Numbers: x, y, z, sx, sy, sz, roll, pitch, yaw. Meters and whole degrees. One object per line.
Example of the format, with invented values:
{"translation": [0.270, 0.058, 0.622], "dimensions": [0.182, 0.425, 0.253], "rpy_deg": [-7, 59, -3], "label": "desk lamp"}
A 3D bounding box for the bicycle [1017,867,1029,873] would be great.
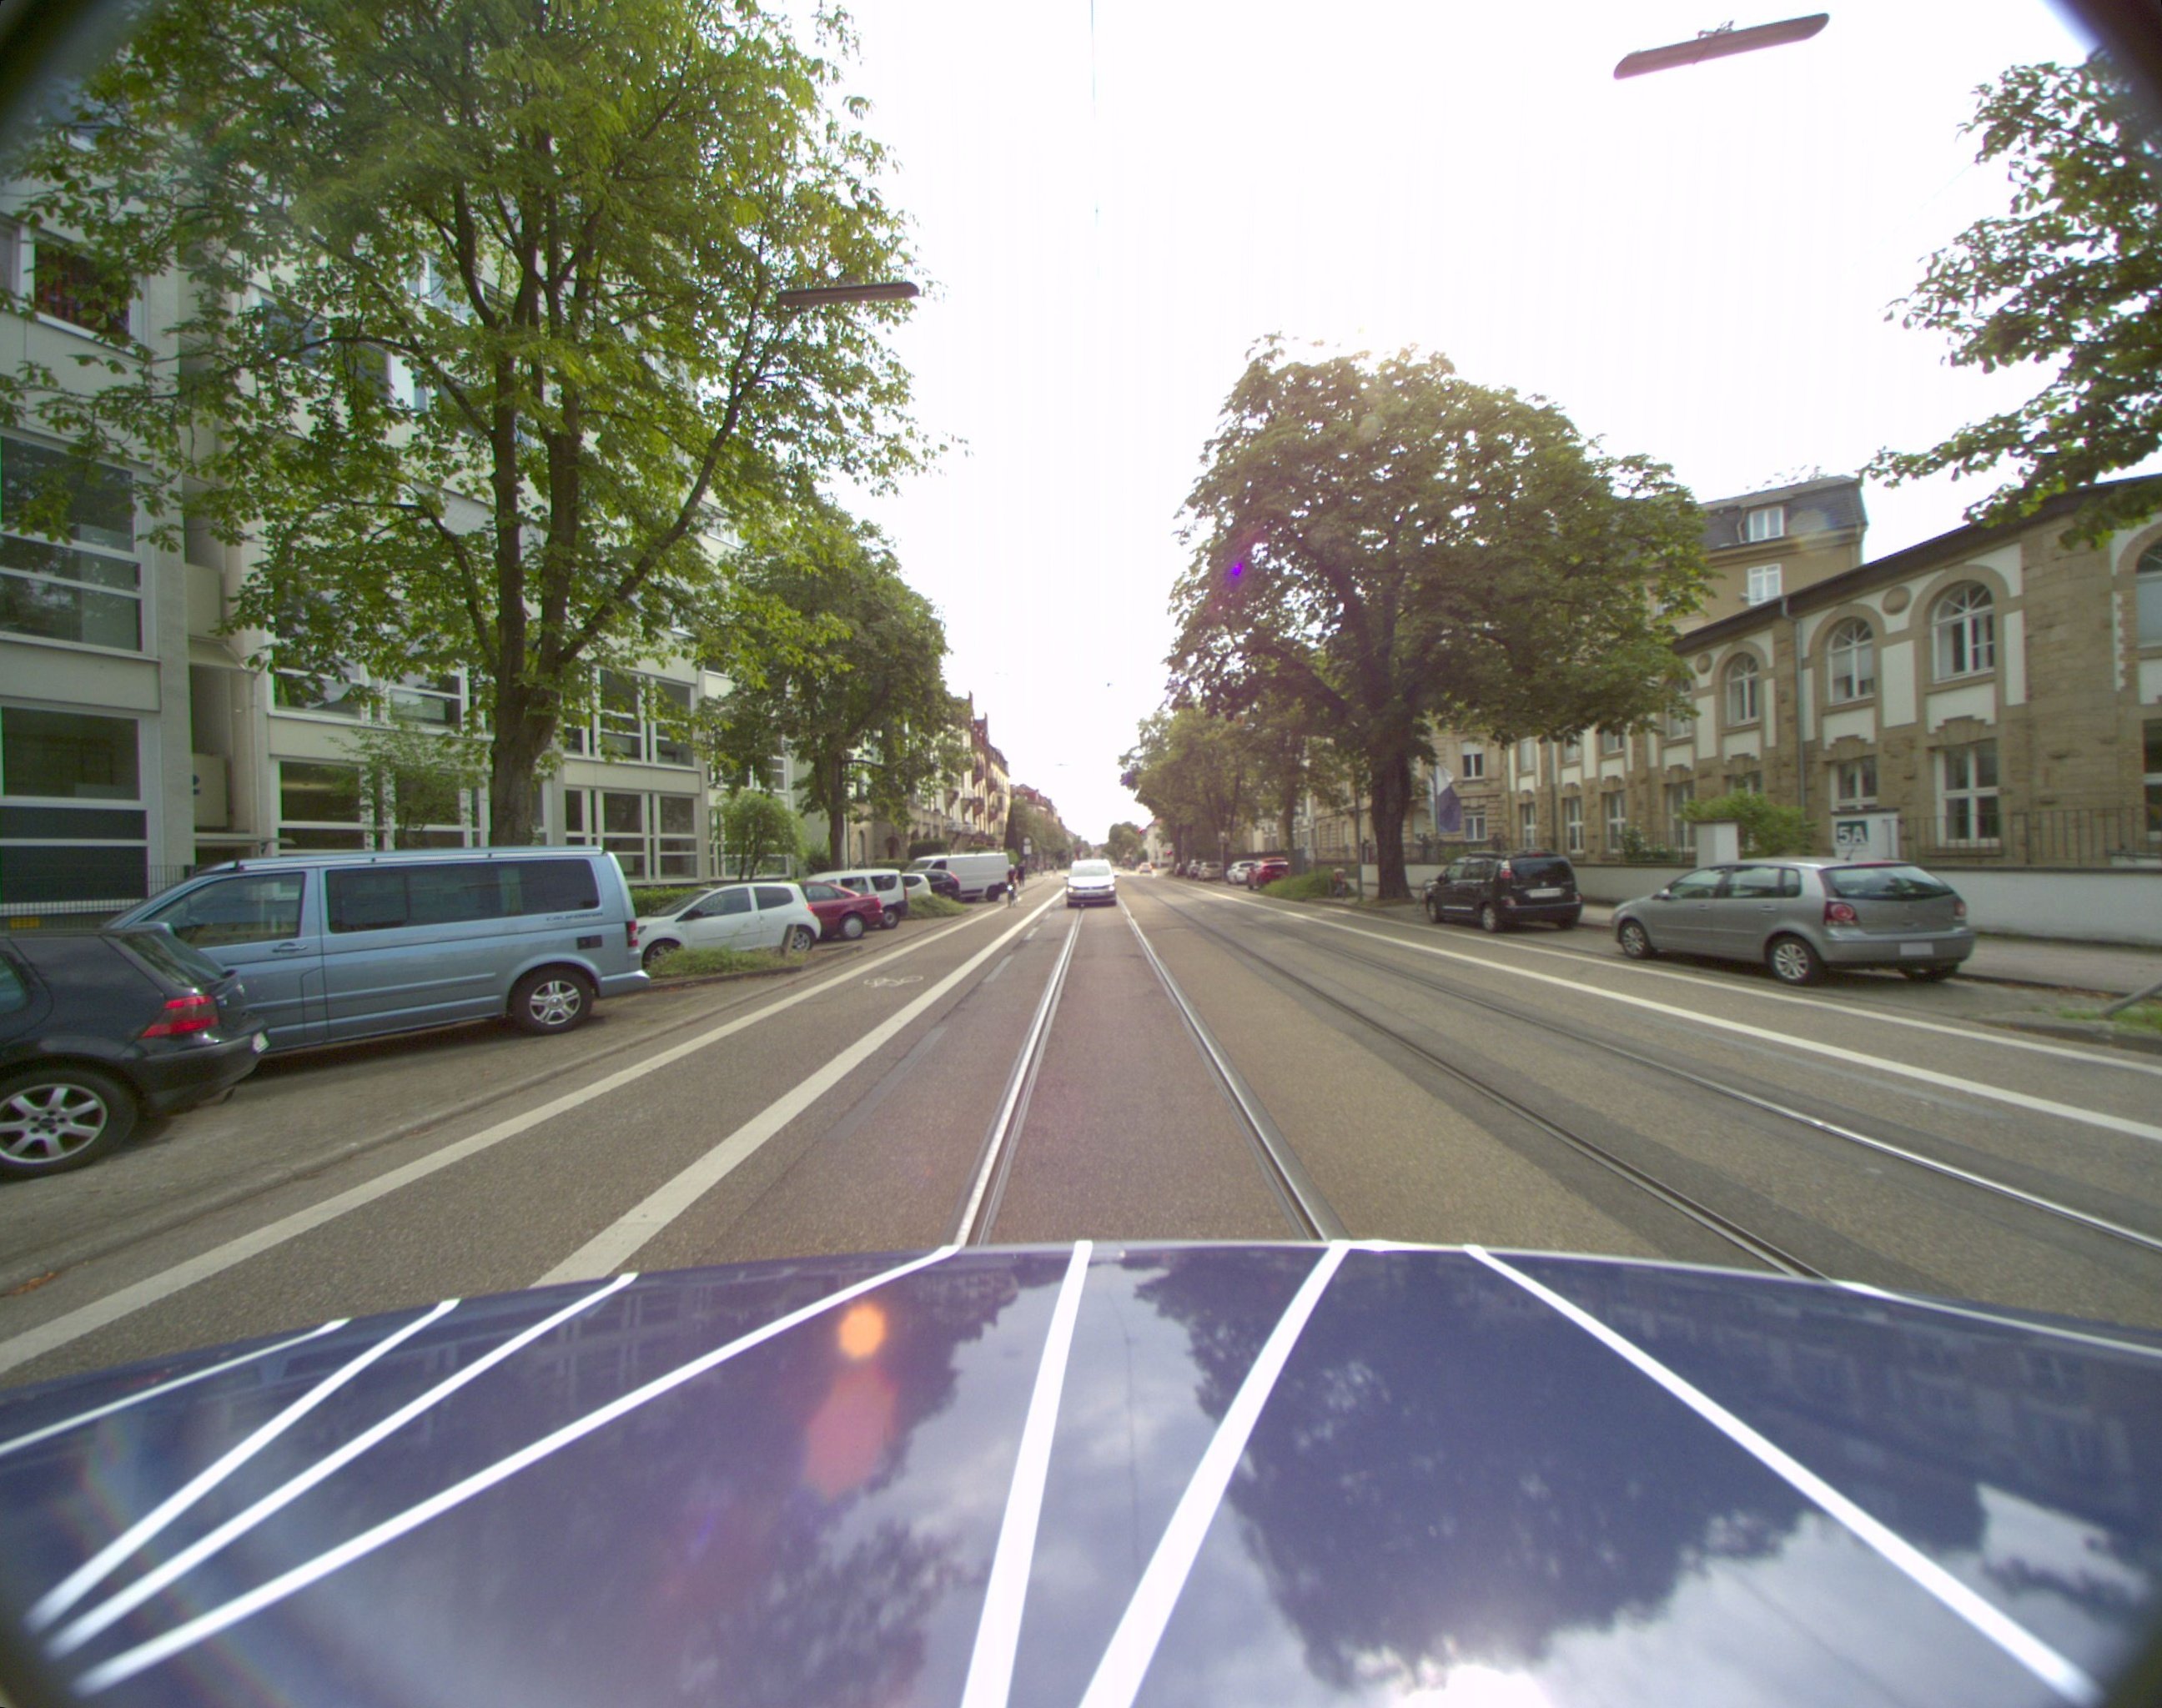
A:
{"translation": [-9.724, 2.697, 127.401], "dimensions": [2.194, 1.019, 0.616], "rpy_deg": [-2, 0, 34], "label": "bicycle"}

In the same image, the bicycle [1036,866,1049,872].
{"translation": [-6.511, 2.549, 127.888], "dimensions": [2.194, 1.019, 0.616], "rpy_deg": [-2, 0, 32], "label": "bicycle"}

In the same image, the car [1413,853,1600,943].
{"translation": [8.973, 0.851, 16.468], "dimensions": [1.760, 1.637, 4.052], "rpy_deg": [-3, 0, 1], "label": "car"}

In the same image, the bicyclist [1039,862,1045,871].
{"translation": [-6.638, 2.121, 127.968], "dimensions": [0.772, 1.357, 0.616], "rpy_deg": [-2, 0, 32], "label": "bicyclist"}

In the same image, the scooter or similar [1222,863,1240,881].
{"translation": [10.122, 1.204, 51.328], "dimensions": [0.563, 1.215, 1.321], "rpy_deg": [-2, 0, -22], "label": "scooter or similar"}

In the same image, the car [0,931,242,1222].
{"translation": [-7.319, 1.348, 3.964], "dimensions": [1.672, 1.451, 3.836], "rpy_deg": [-2, 0, 44], "label": "car"}

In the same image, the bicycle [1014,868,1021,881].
{"translation": [-5.462, 1.744, 65.695], "dimensions": [0.392, 1.135, 1.921], "rpy_deg": [0, 0, 1], "label": "bicycle"}

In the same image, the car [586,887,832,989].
{"translation": [-6.807, 1.440, 14.120], "dimensions": [3.723, 1.424, 1.685], "rpy_deg": [-2, 0, -44], "label": "car"}

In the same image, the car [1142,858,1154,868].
{"translation": [9.315, 1.216, 105.680], "dimensions": [1.574, 1.407, 4.002], "rpy_deg": [0, -1, 5], "label": "car"}

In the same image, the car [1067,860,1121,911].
{"translation": [0.512, 1.090, 28.329], "dimensions": [1.767, 1.660, 4.330], "rpy_deg": [-3, -1, 2], "label": "car"}

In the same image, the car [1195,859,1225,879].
{"translation": [9.880, 1.114, 58.232], "dimensions": [1.604, 1.459, 4.079], "rpy_deg": [-2, -1, 1], "label": "car"}

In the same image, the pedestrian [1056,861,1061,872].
{"translation": [-3.410, 1.863, 115.151], "dimensions": [0.721, 1.650, 0.759], "rpy_deg": [2, 0, -3], "label": "pedestrian"}

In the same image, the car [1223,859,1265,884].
{"translation": [10.241, 1.088, 47.980], "dimensions": [1.725, 1.415, 4.023], "rpy_deg": [-4, 0, 0], "label": "car"}

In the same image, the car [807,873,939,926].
{"translation": [-7.189, 1.526, 26.527], "dimensions": [4.100, 1.502, 1.685], "rpy_deg": [-2, 0, -44], "label": "car"}

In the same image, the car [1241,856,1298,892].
{"translation": [9.656, 0.973, 39.272], "dimensions": [1.725, 1.645, 4.542], "rpy_deg": [-4, 0, 0], "label": "car"}

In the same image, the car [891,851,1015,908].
{"translation": [-5.770, 1.092, 34.654], "dimensions": [4.968, 2.276, 2.378], "rpy_deg": [-2, 0, -42], "label": "car"}

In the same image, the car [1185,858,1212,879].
{"translation": [10.166, 1.220, 65.988], "dimensions": [1.714, 1.663, 4.357], "rpy_deg": [-2, -1, 1], "label": "car"}

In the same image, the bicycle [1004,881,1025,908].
{"translation": [-2.639, 1.584, 30.300], "dimensions": [0.640, 0.975, 2.071], "rpy_deg": [-1, 0, -1], "label": "bicycle"}

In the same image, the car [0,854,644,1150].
{"translation": [-6.987, 1.090, 7.456], "dimensions": [4.284, 2.003, 1.826], "rpy_deg": [-2, 0, -44], "label": "car"}

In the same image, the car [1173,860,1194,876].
{"translation": [10.475, 1.422, 77.947], "dimensions": [1.724, 1.416, 4.167], "rpy_deg": [-4, 0, 3], "label": "car"}

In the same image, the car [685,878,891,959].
{"translation": [-6.567, 1.368, 17.260], "dimensions": [3.983, 1.424, 1.685], "rpy_deg": [-2, 0, -41], "label": "car"}

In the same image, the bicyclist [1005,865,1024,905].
{"translation": [-2.645, 1.208, 30.330], "dimensions": [0.640, 1.561, 1.110], "rpy_deg": [-1, 0, -1], "label": "bicyclist"}

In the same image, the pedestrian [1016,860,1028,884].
{"translation": [-4.230, 1.261, 54.314], "dimensions": [0.787, 1.722, 0.896], "rpy_deg": [1, 0, 1], "label": "pedestrian"}

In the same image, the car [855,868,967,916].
{"translation": [-6.705, 1.471, 30.253], "dimensions": [3.968, 1.639, 1.685], "rpy_deg": [-2, 0, -44], "label": "car"}

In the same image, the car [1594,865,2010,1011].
{"translation": [8.823, 0.901, 9.860], "dimensions": [1.697, 1.419, 3.868], "rpy_deg": [-3, 0, 1], "label": "car"}

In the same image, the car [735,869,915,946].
{"translation": [-6.669, 1.325, 20.086], "dimensions": [4.117, 1.658, 1.685], "rpy_deg": [-2, 0, -44], "label": "car"}
